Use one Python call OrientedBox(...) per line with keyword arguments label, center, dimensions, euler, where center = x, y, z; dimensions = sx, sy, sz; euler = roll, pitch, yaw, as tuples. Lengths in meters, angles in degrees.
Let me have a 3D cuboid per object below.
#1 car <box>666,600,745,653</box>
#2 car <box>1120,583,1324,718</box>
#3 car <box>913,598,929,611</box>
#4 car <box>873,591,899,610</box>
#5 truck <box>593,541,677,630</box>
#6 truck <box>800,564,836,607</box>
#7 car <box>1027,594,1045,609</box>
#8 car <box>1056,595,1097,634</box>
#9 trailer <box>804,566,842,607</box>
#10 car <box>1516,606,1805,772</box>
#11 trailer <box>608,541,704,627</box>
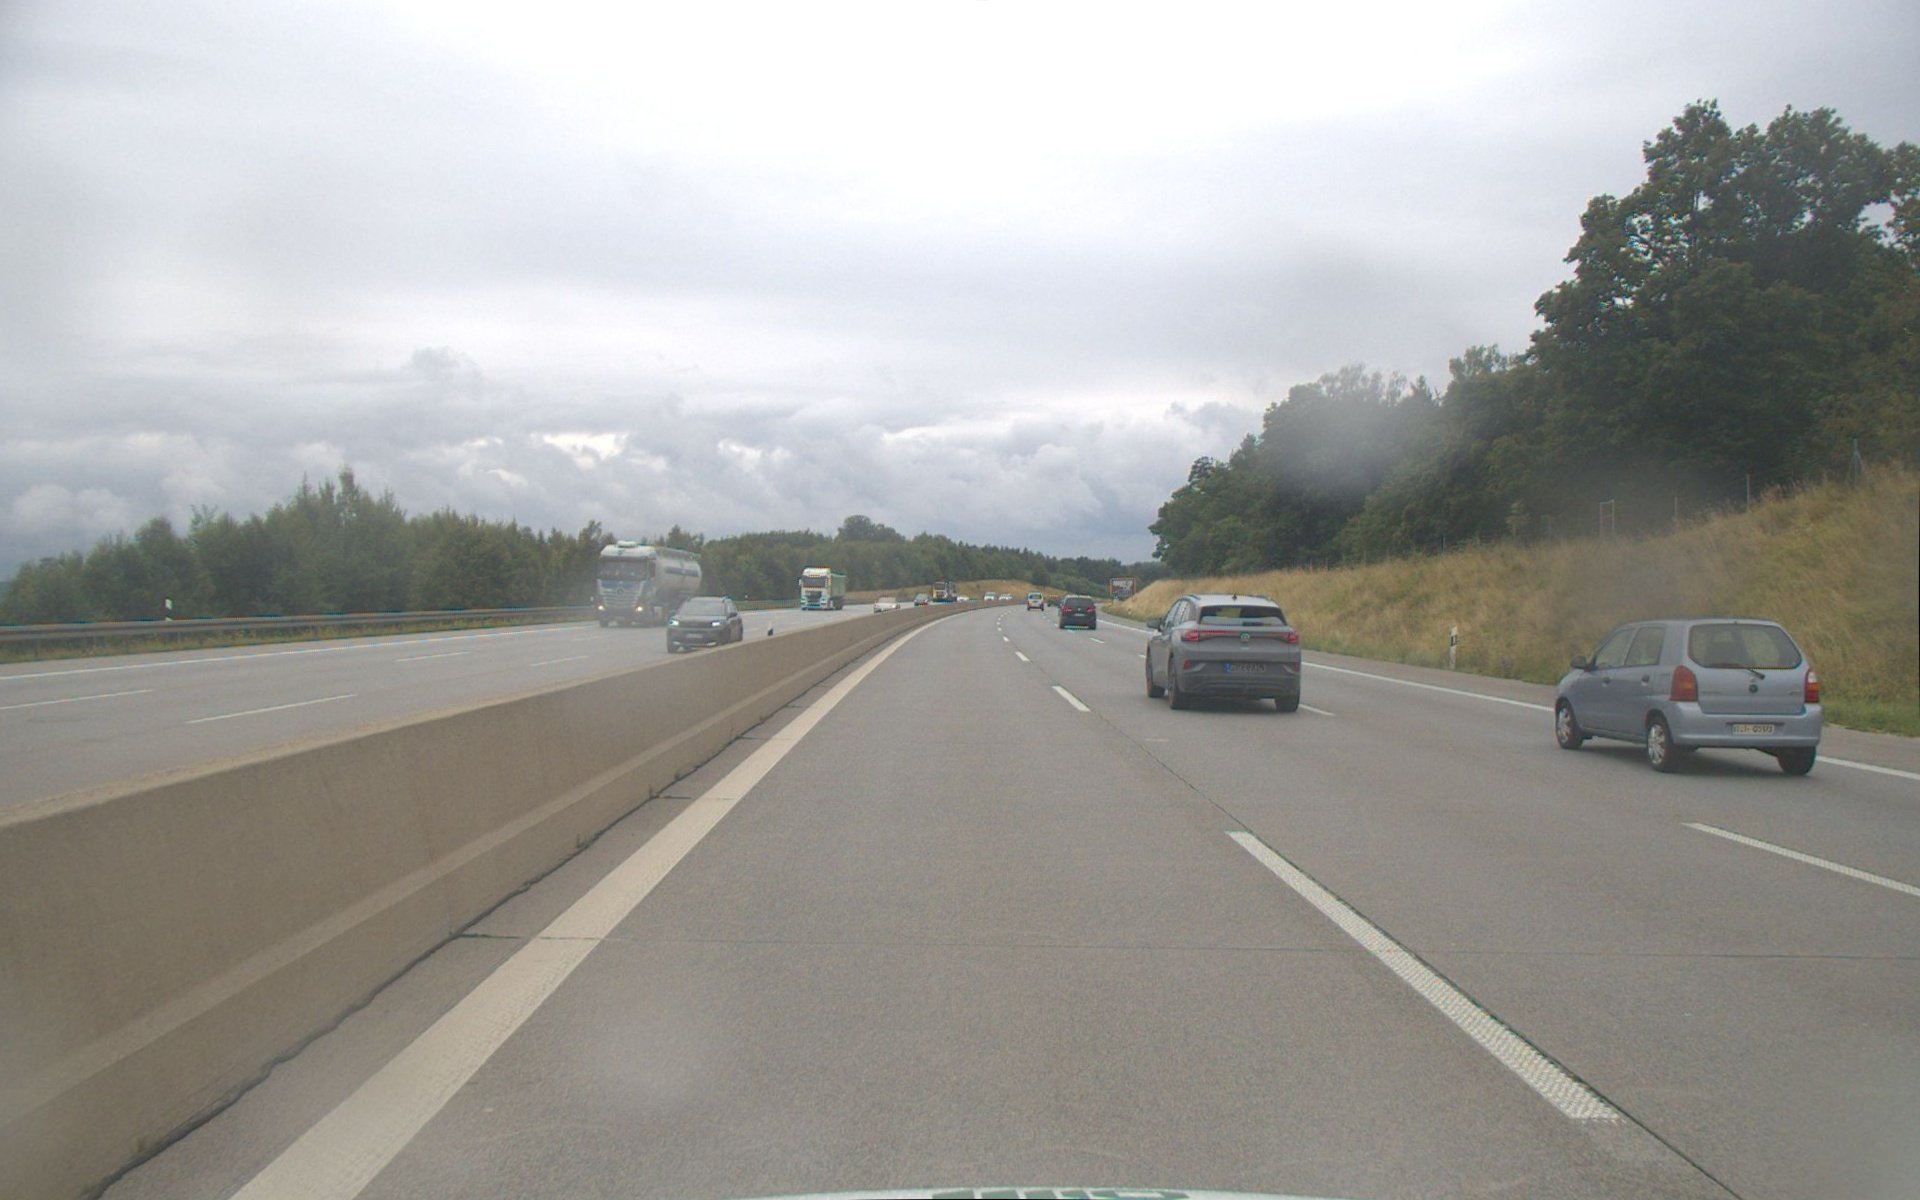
OrientedBox(label="car", center=(-7.646, 0.756, 50.048), dimensions=(1.755, 1.441, 4.342), euler=(1, 1, -1))
OrientedBox(label="car", center=(3.772, 0.648, 24.809), dimensions=(1.860, 1.719, 5.262), euler=(1, 1, -4))
OrientedBox(label="car", center=(-5.145, 0.600, 217.991), dimensions=(1.952, 1.617, 4.772), euler=(1, 0, 1))
OrientedBox(label="car", center=(-6.315, 0.006, 140.840), dimensions=(1.953, 1.466, 4.767), euler=(2, 1, 0))
OrientedBox(label="truck", center=(-15.555, -0.754, 79.606), dimensions=(2.691, 4.068, 6.929), euler=(1, 1, -1))
OrientedBox(label="truck", center=(-13.322, -1.309, 155.057), dimensions=(2.693, 3.869, 5.531), euler=(1, 0, 1))
OrientedBox(label="car", center=(8.559, 0.203, 187.107), dimensions=(1.802, 1.526, 4.003), euler=(-2, 1, 5))
OrientedBox(label="car", center=(5.966, 0.718, 84.889), dimensions=(1.749, 1.777, 3.915), euler=(-2, 1, 0))
OrientedBox(label="trailer", center=(-13.216, -1.303, 160.231), dimensions=(2.693, 3.866, 9.317), euler=(1, 0, 1))
OrientedBox(label="car", center=(7.300, 0.861, 17.596), dimensions=(1.456, 1.496, 3.503), euler=(0, 1, -3))
OrientedBox(label="trailer", center=(-15.608, -0.917, 85.877), dimensions=(2.702, 4.068, 12.290), euler=(1, 1, 0))
